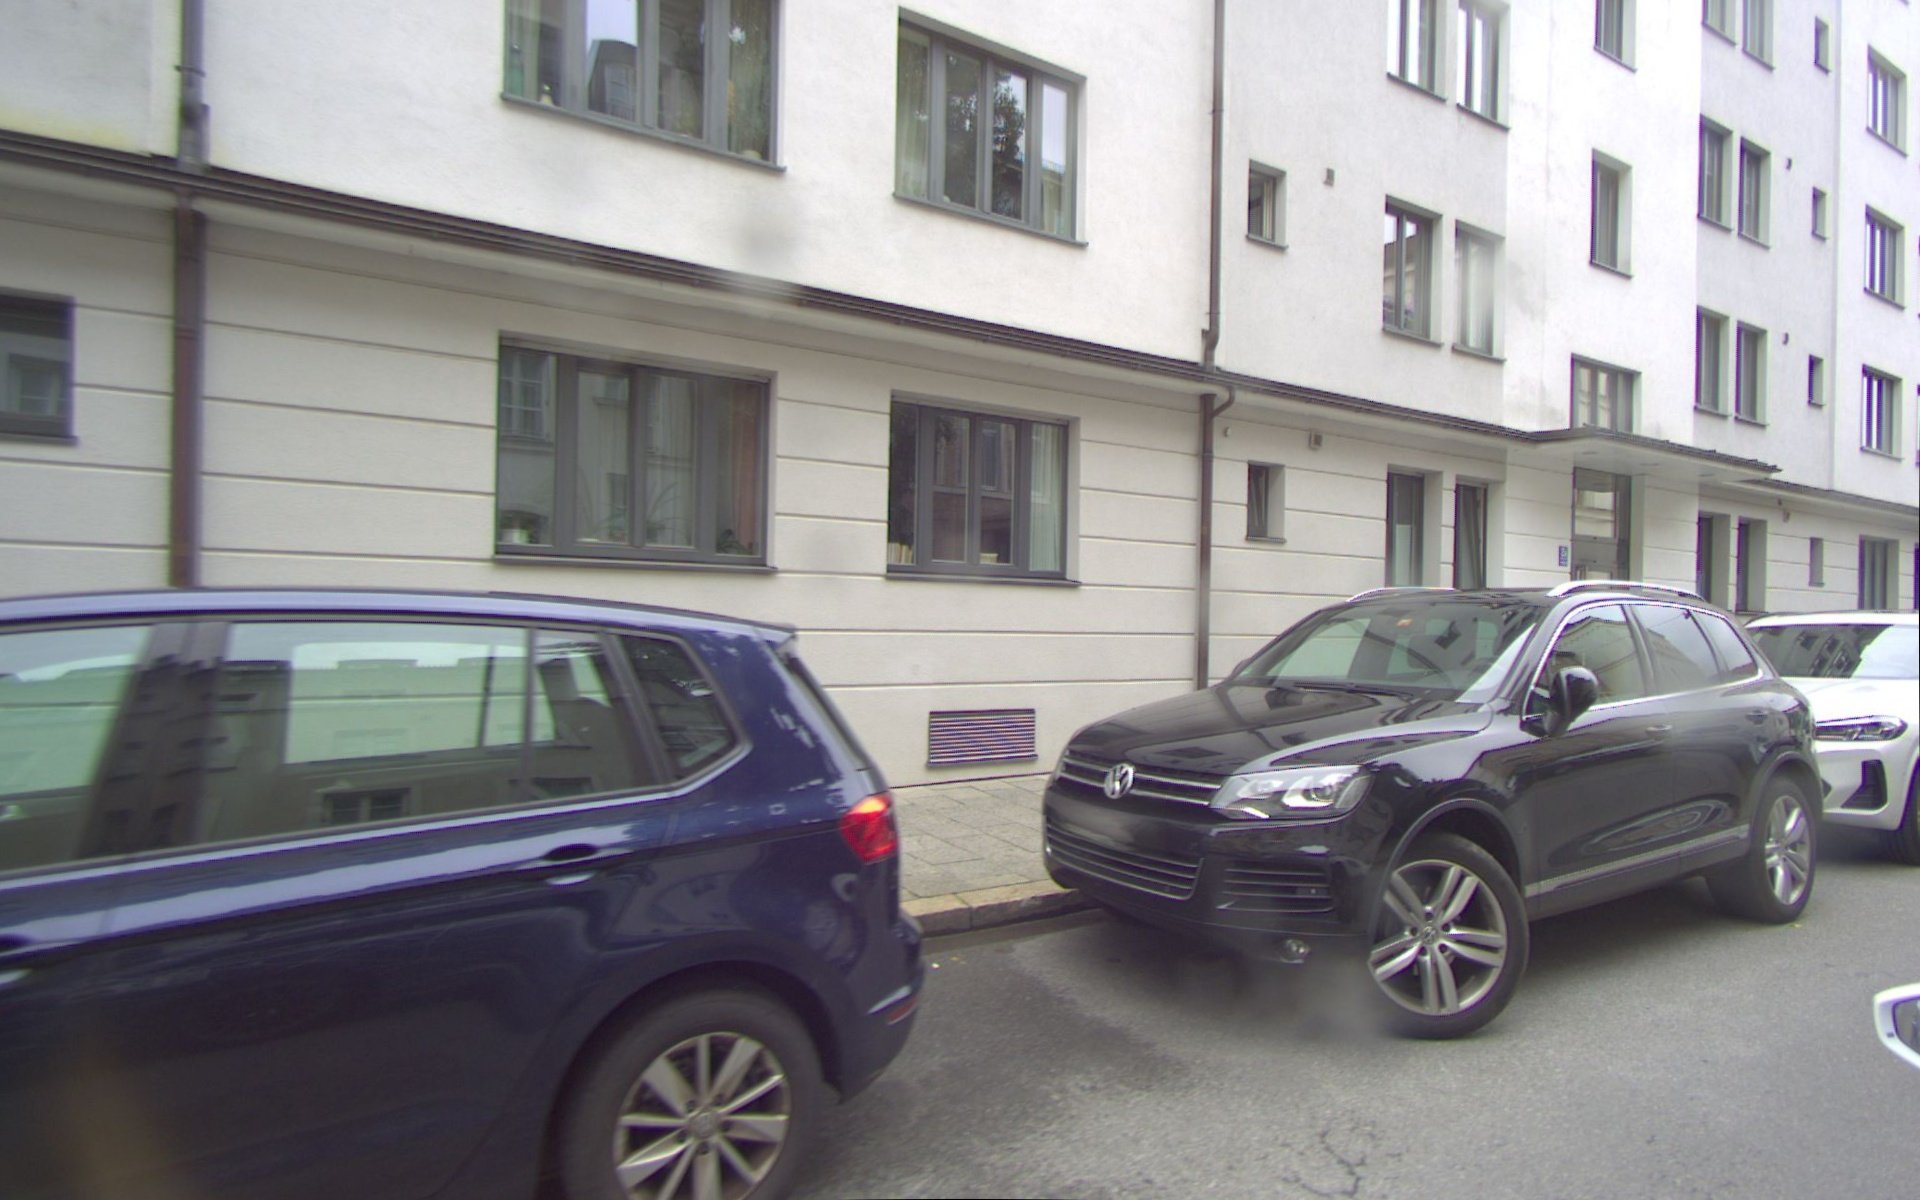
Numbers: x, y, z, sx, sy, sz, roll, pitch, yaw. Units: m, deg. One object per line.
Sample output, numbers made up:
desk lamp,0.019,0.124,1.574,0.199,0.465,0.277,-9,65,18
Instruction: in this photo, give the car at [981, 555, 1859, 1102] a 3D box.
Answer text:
car,2.486,0.761,5.118,4.468,1.710,1.863,0,-2,-31

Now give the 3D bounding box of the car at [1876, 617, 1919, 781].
car,12.031,1.013,11.003,4.541,1.680,1.862,1,-2,-33

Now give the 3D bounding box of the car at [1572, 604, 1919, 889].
car,7.027,0.909,7.917,4.537,1.680,1.863,0,-2,-31

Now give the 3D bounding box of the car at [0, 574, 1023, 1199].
car,-2.037,0.765,2.440,4.111,1.559,1.765,0,-2,-31
